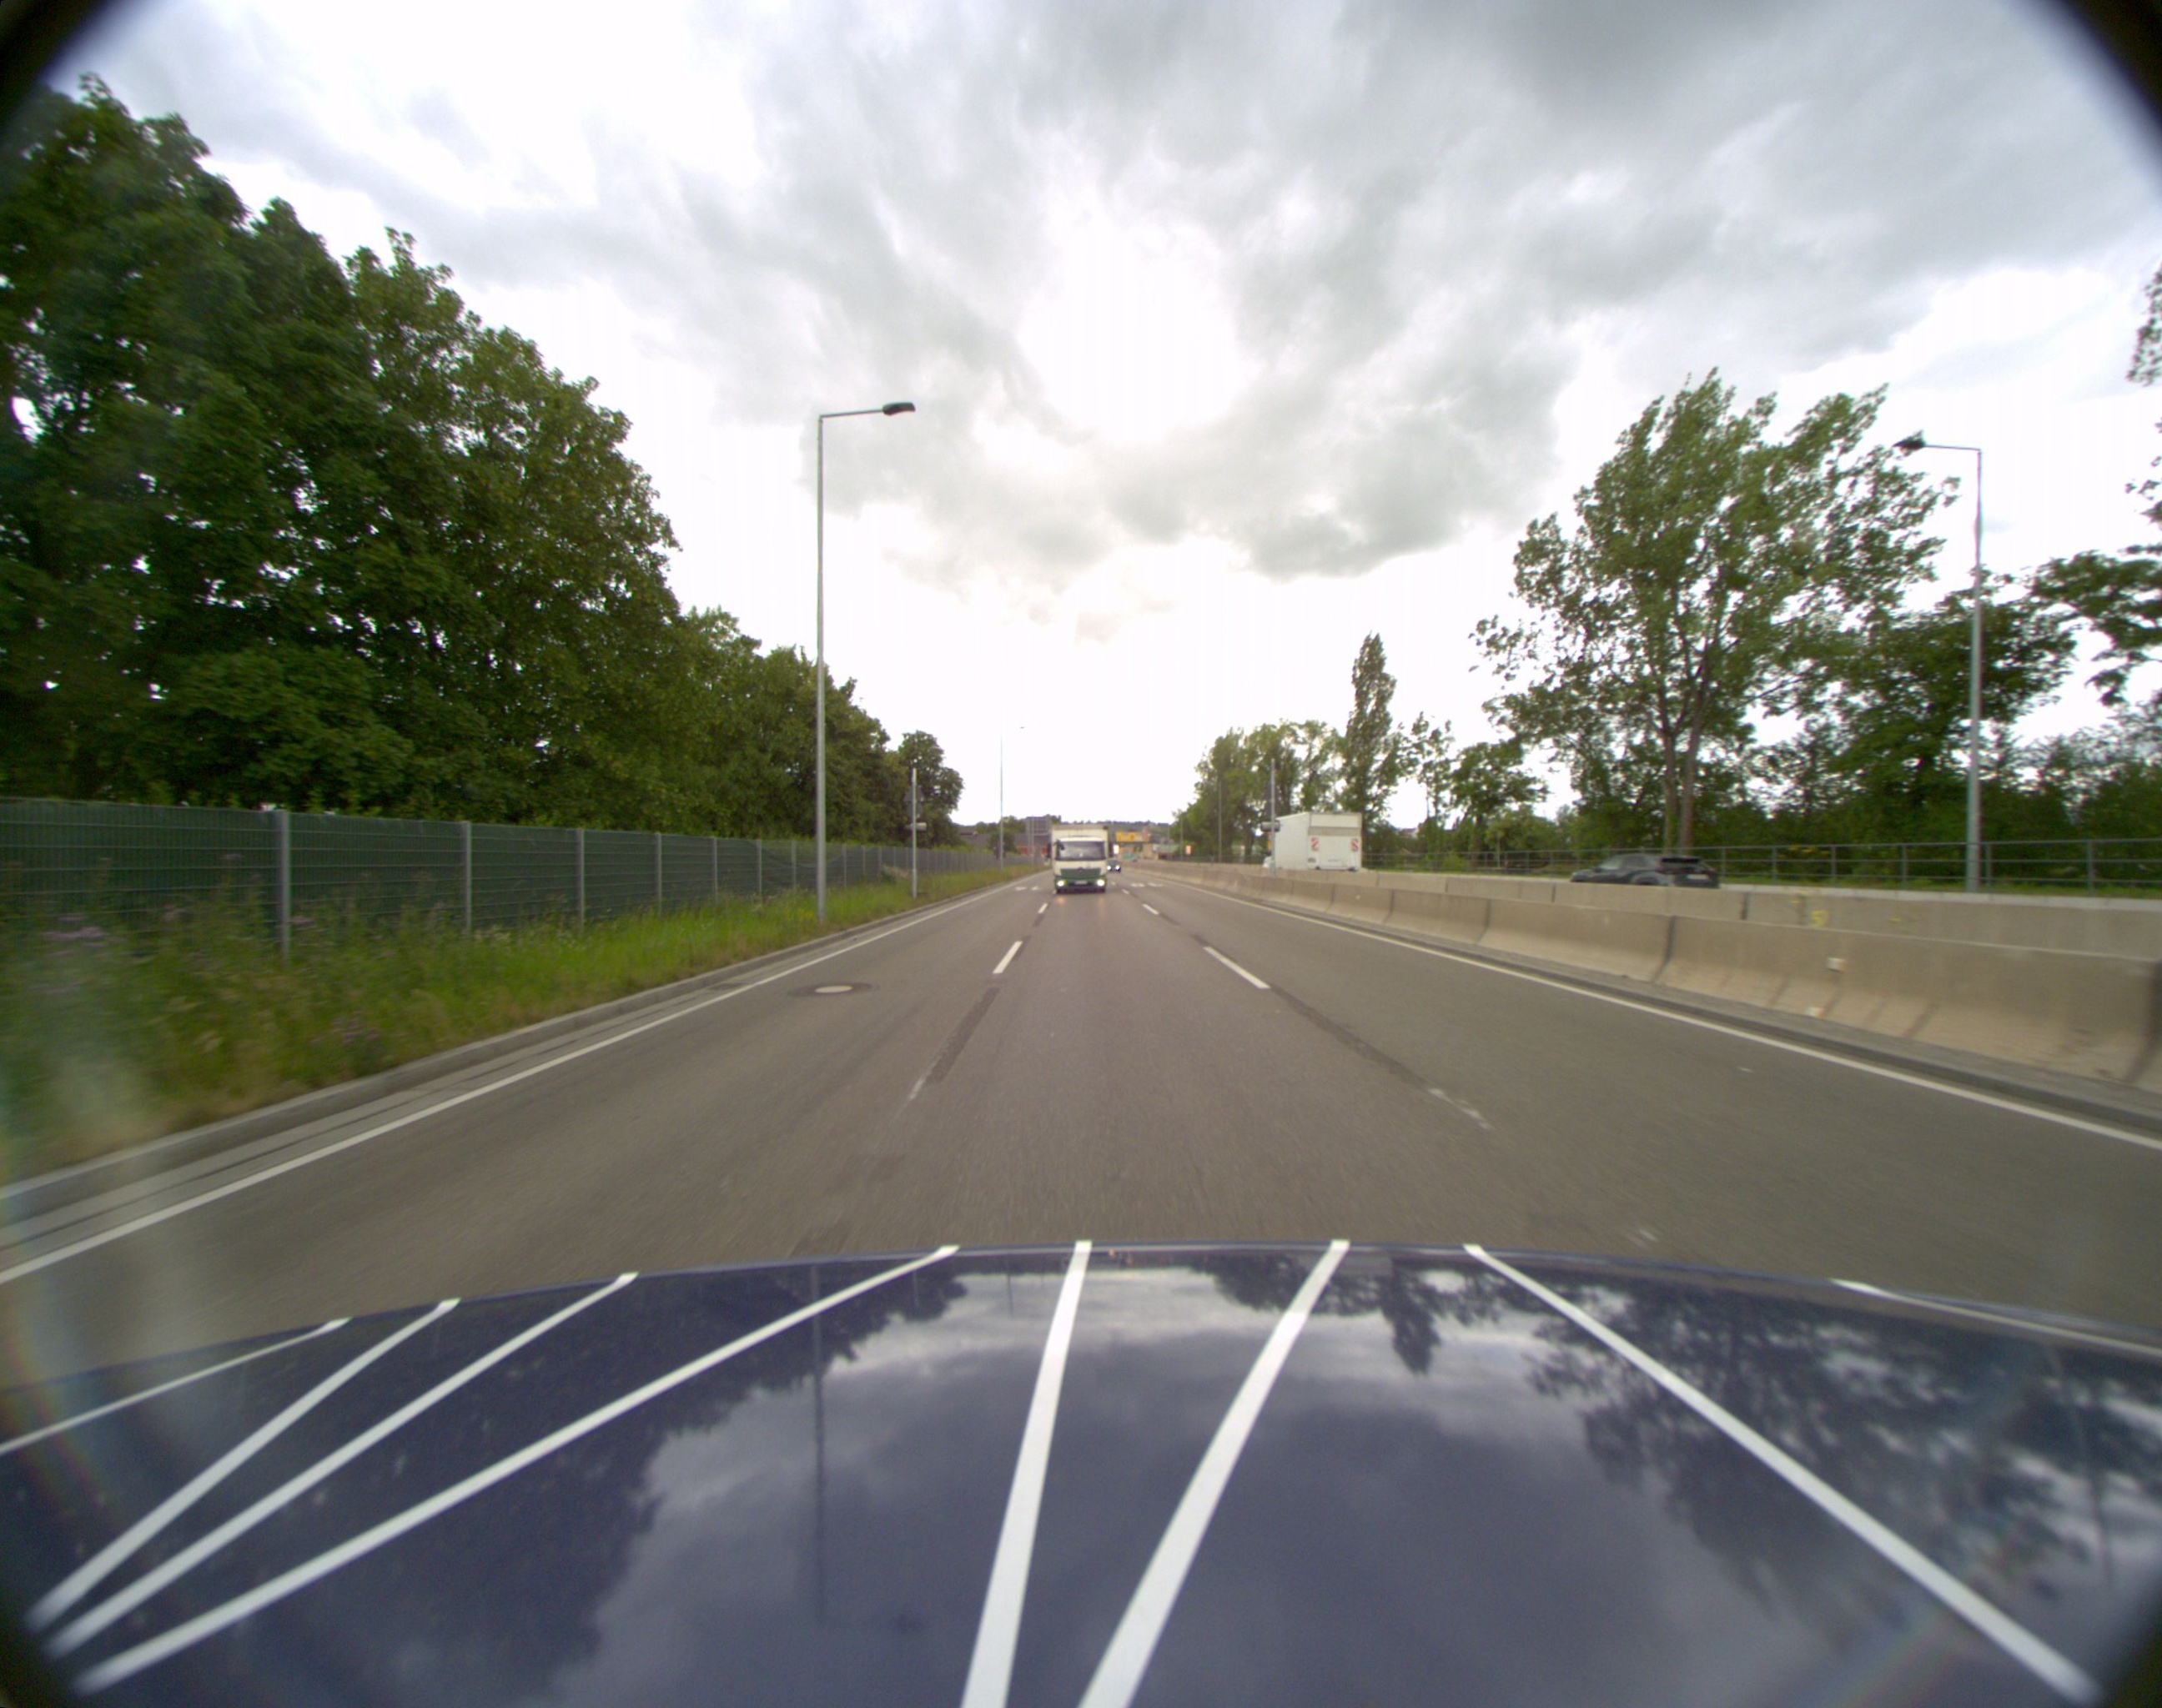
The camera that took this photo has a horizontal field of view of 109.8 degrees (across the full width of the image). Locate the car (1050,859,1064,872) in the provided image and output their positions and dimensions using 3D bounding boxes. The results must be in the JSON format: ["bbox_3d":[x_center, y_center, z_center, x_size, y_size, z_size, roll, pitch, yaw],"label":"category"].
[{"bbox_3d":[-3.691,1.815,117.718,1.999,1.849,4.000,-3,0,0],"label":"car"}]

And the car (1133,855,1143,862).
[{"bbox_3d":[15.247,1.177,204.396,2.335,1.914,5.002,-3,0,1],"label":"car"}]

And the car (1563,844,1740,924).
[{"bbox_3d":[16.163,0.780,21.833,1.998,2.002,4.000,-3,0,0],"label":"car"}]

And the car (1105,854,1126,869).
[{"bbox_3d":[3.617,0.787,80.312,1.998,1.444,4.000,-3,0,0],"label":"car"}]

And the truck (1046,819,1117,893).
[{"bbox_3d":[-0.060,0.088,36.951,2.943,3.064,8.386,-2,0,-1],"label":"truck"}]

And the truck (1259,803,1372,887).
[{"bbox_3d":[9.760,-0.320,32.525,2.410,3.089,7.201,-3,0,-1],"label":"truck"}]
